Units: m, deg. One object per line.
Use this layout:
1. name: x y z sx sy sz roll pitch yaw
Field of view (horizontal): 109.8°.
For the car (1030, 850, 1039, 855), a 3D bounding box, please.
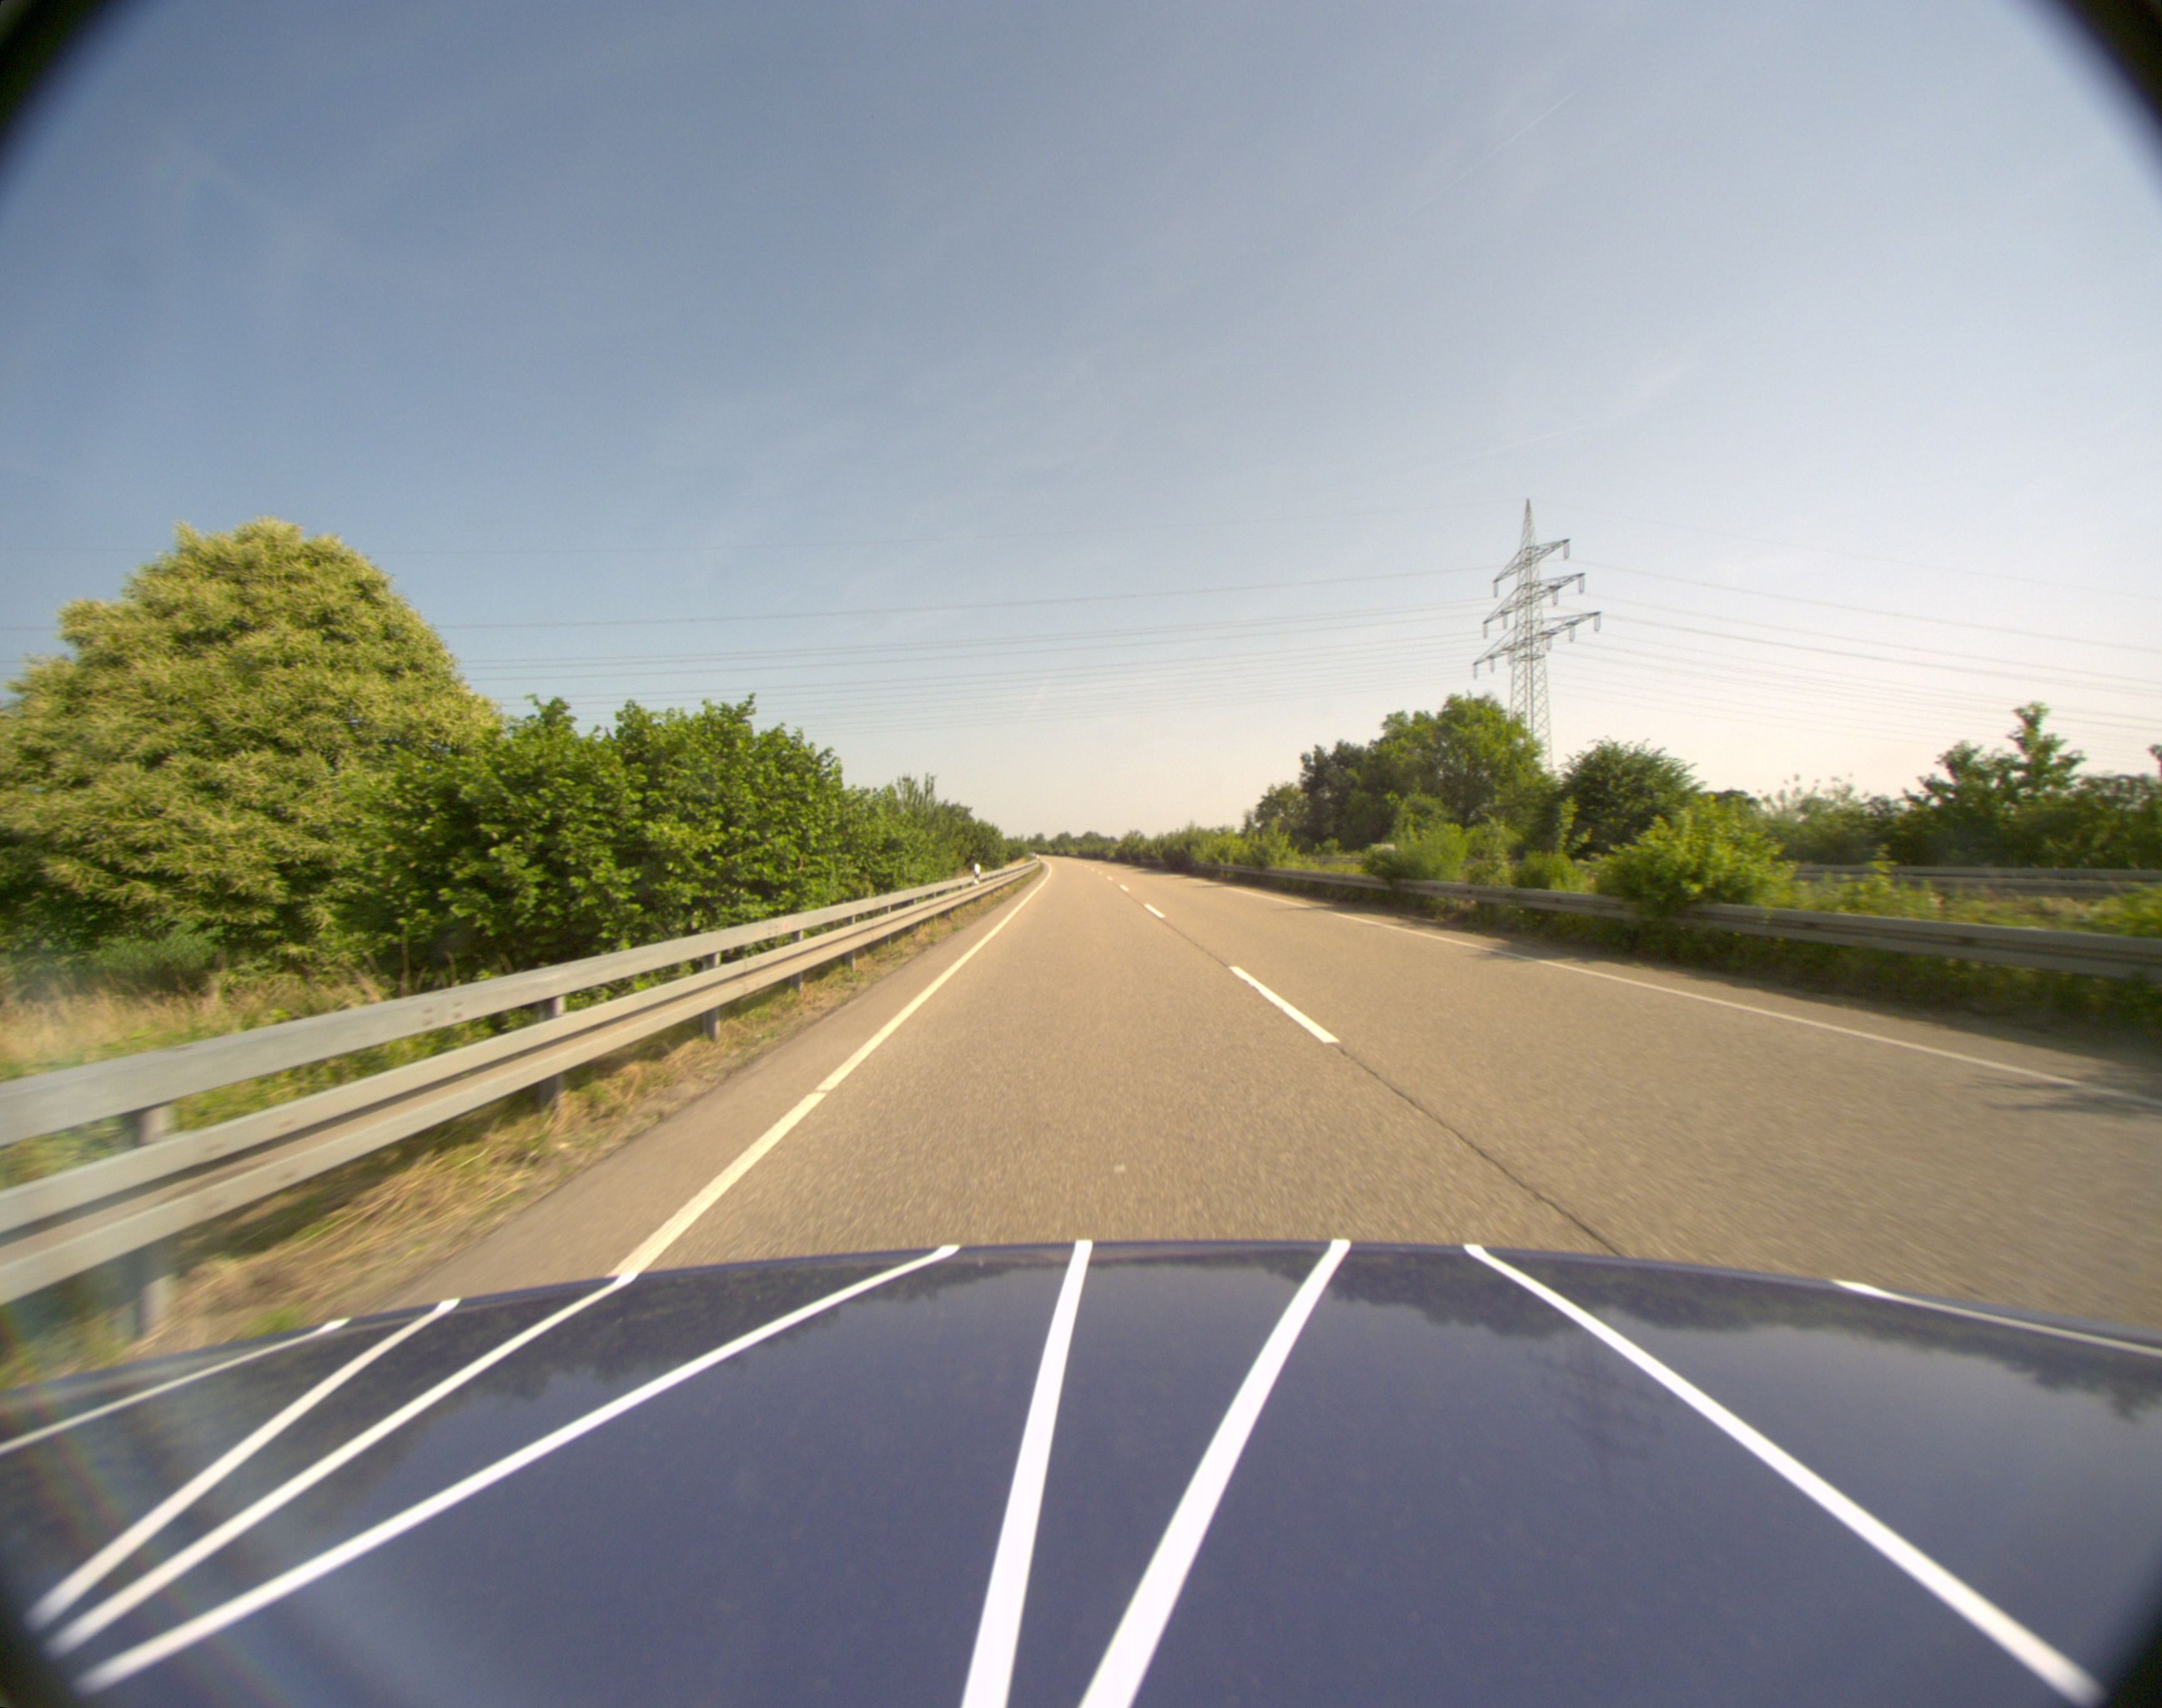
1. car: -13.592 -0.481 221.245 1.705 1.474 3.595 -3 0 -18
